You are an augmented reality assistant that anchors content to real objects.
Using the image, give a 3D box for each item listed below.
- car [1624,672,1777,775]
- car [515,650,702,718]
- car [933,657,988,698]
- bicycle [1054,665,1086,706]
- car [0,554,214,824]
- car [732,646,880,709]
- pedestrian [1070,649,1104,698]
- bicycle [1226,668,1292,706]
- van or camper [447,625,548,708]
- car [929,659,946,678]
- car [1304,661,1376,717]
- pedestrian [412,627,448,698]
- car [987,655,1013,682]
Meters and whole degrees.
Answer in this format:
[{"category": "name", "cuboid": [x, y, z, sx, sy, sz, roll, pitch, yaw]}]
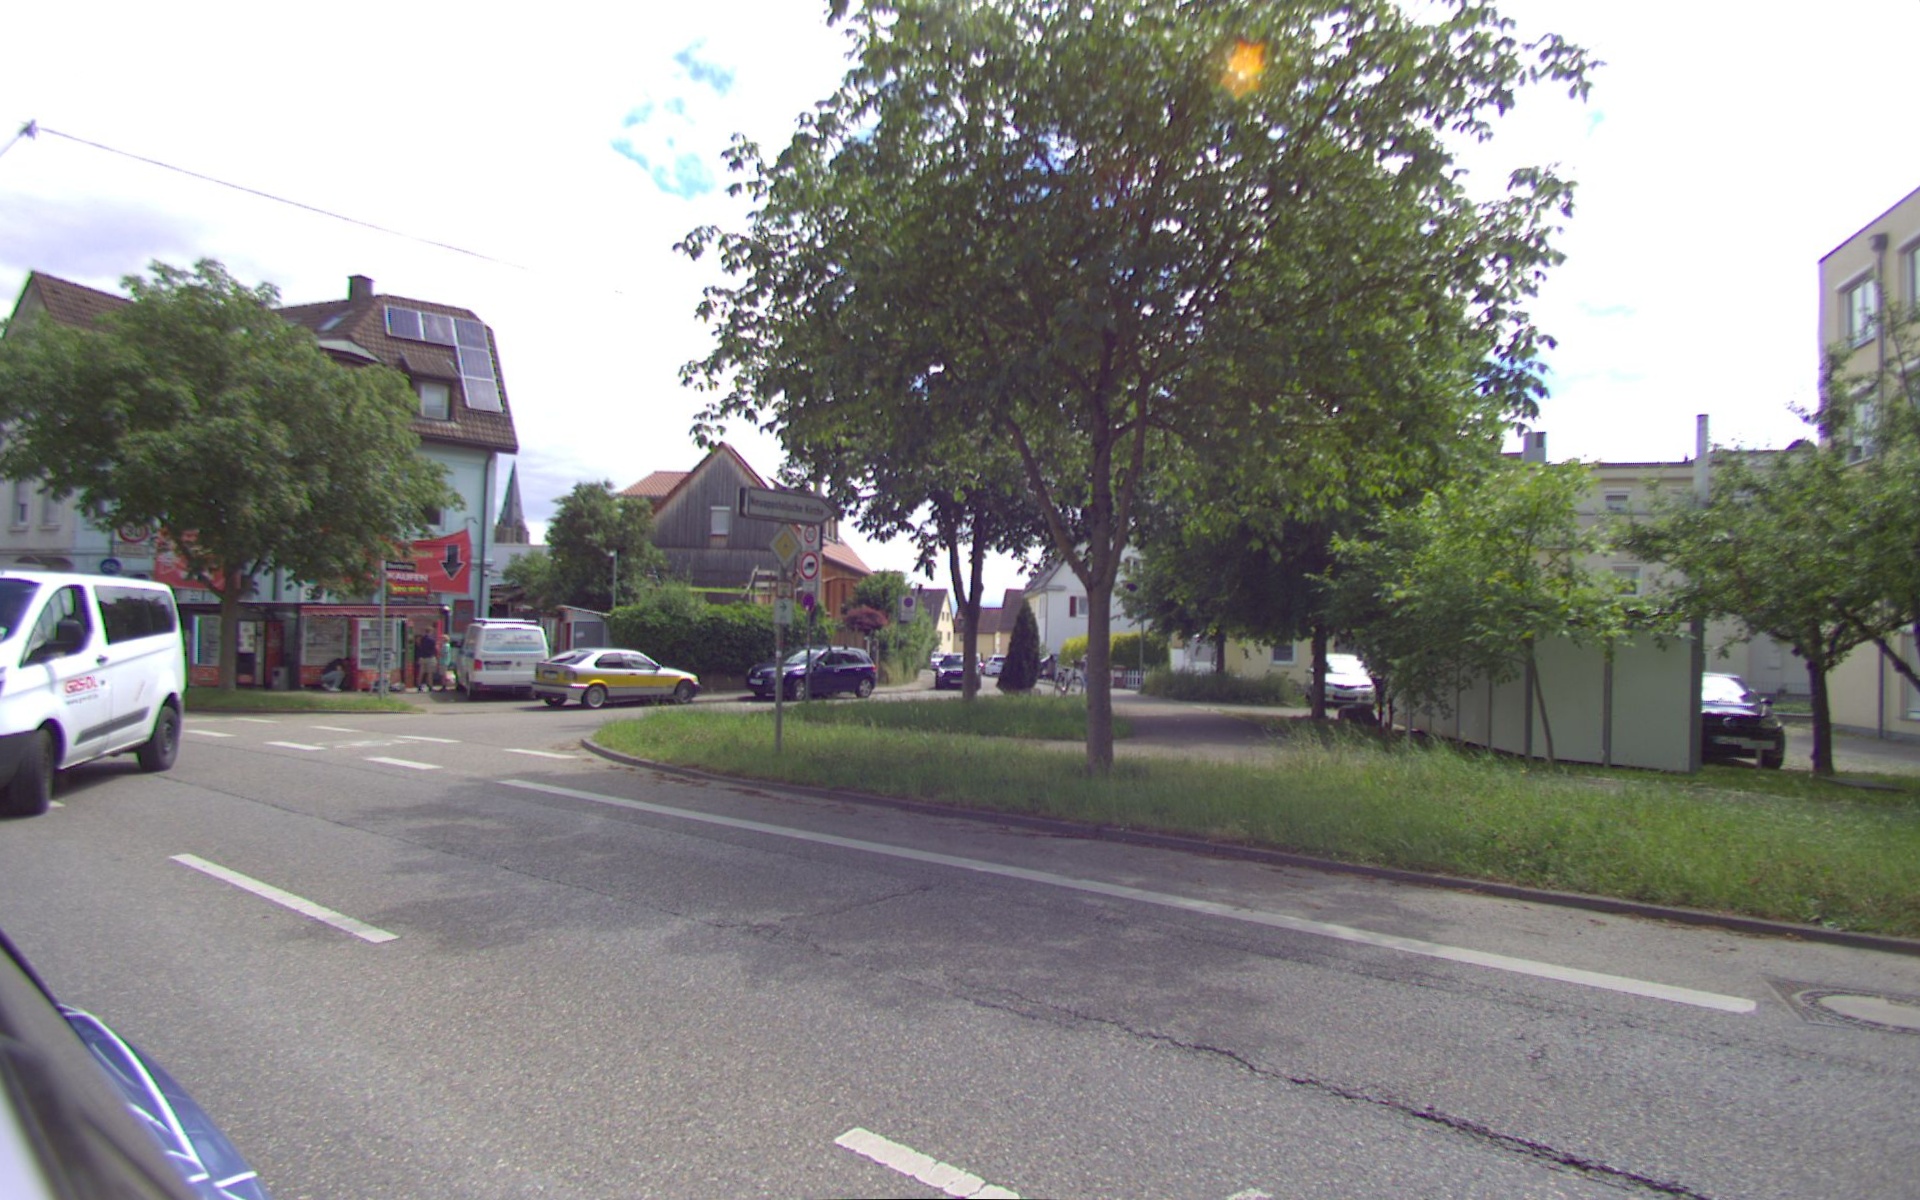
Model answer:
[{"category": "car", "cuboid": [12.192, 1.979, 16.848, 1.424, 1.461, 3.367, 0, -4, 26]}, {"category": "car", "cuboid": [-8.438, 1.973, 24.607, 1.811, 1.424, 3.984, 1, -2, 33]}, {"category": "car", "cuboid": [0.077, 2.978, 39.314, 1.576, 1.332, 3.767, 2, -1, 9]}, {"category": "bicycle", "cuboid": [2.762, 2.133, 25.519, 0.457, 0.866, 2.226, 1, -1, -2]}, {"category": "car", "cuboid": [-8.834, 0.785, 9.078, 2.072, 2.009, 5.245, -1, -3, -20]}, {"category": "car", "cuboid": [-4.287, 2.147, 28.639, 1.814, 1.560, 3.950, 1, -2, 38]}, {"category": "pedestrian", "cuboid": [4.297, 2.484, 34.225, 0.812, 1.607, 0.727, -6, -6, 35]}, {"category": "bicycle", "cuboid": [11.644, 3.374, 39.427, 2.394, 1.375, 0.511, 0, -2, 23]}, {"category": "van or camper", "cuboid": [-12.363, 1.695, 26.889, 1.760, 2.009, 4.391, 3, -2, -33]}, {"category": "car", "cuboid": [-2.210, 6.717, 99.208, 1.571, 1.570, 3.628, 2, -1, 0]}, {"category": "car", "cuboid": [10.833, 2.523, 28.831, 1.821, 1.408, 3.386, 1, -4, 21]}, {"category": "pedestrian", "cuboid": [-14.450, 1.691, 27.601, 0.558, 1.910, 0.623, 1, -2, 10]}, {"category": "car", "cuboid": [2.710, 4.625, 68.826, 1.571, 1.570, 3.628, 2, -1, 0]}]
